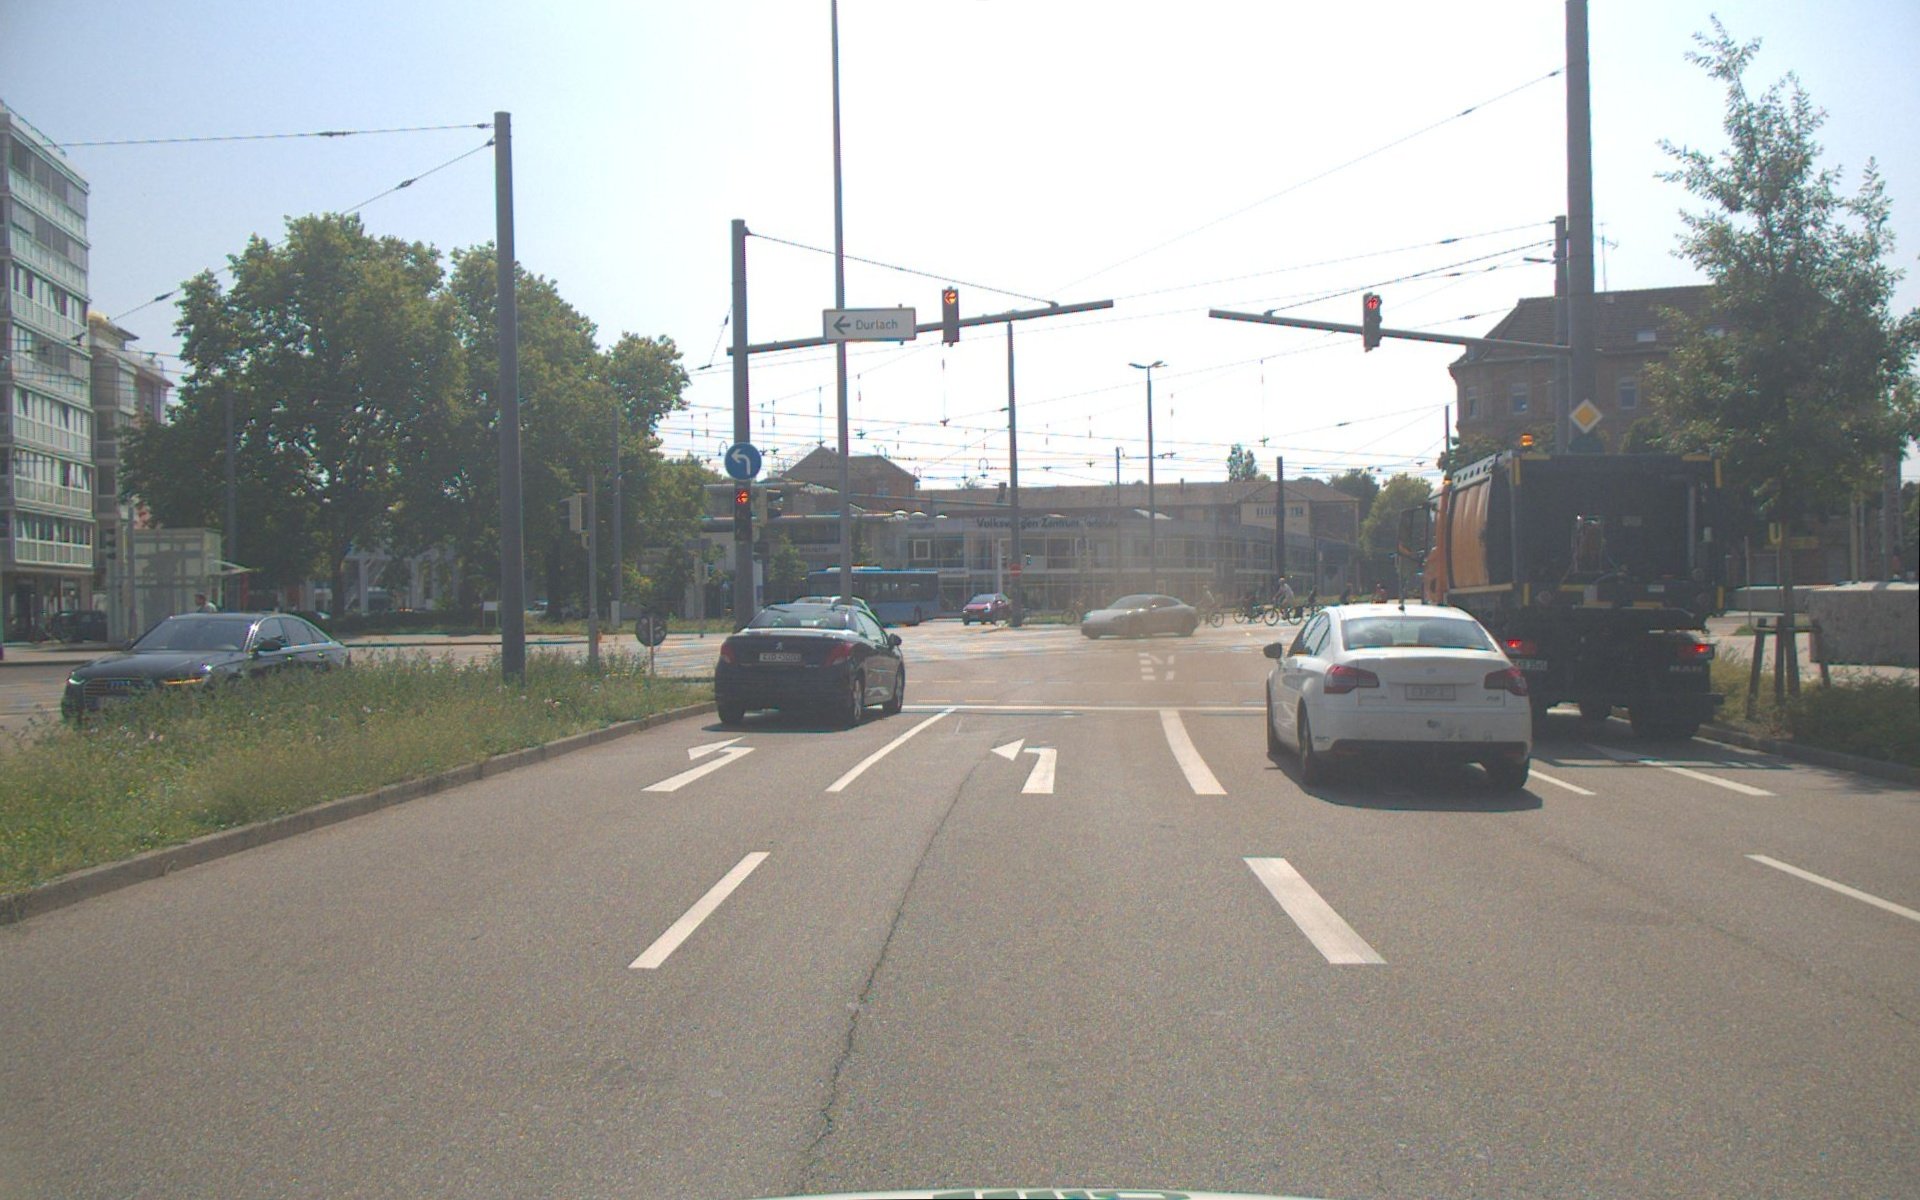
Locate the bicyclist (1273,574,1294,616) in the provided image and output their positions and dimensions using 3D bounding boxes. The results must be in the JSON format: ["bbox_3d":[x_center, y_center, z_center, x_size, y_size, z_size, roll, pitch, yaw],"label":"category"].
[{"bbox_3d":[14.055,-0.214,71.789,0.690,1.794,0.714,-1,0,-6],"label":"bicyclist"}]

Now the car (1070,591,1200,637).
[{"bbox_3d":[5.881,0.446,55.152,1.913,1.424,4.555,-1,0,44],"label":"car"}]

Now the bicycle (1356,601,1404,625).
[{"bbox_3d":[18.541,0.572,73.054,1.939,1.036,0.714,-1,0,27],"label":"bicycle"}]

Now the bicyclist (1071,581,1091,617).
[{"bbox_3d":[5.635,-0.038,77.114,0.748,1.662,0.761,-1,0,-11],"label":"bicyclist"}]

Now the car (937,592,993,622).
[{"bbox_3d":[0.297,0.338,83.873,1.692,1.444,3.842,-1,0,19],"label":"car"}]

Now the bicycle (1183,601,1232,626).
[{"bbox_3d":[10.559,0.581,70.545,1.938,1.036,0.714,-1,0,-3],"label":"bicycle"}]

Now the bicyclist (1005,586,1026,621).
[{"bbox_3d":[2.539,0.147,76.077,0.784,1.568,0.760,-1,0,-14],"label":"bicyclist"}]

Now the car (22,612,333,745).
[{"bbox_3d":[-9.631,0.893,20.827,1.734,1.435,4.765,0,0,-1],"label":"car"}]

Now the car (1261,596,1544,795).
[{"bbox_3d":[3.750,0.719,14.749,1.721,1.480,4.428,0,0,5],"label":"car"}]

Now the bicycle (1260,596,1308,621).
[{"bbox_3d":[14.063,0.382,71.791,1.940,1.036,0.713,-1,0,-7],"label":"bicycle"}]

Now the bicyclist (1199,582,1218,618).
[{"bbox_3d":[10.601,-0.004,70.545,0.651,1.535,0.714,-1,0,-2],"label":"bicyclist"}]

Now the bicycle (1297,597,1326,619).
[{"bbox_3d":[16.673,0.382,78.459,1.581,1.002,0.500,-1,0,-40],"label":"bicycle"}]

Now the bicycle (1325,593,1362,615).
[{"bbox_3d":[17.698,0.198,76.324,1.558,1.002,0.507,-1,0,21],"label":"bicycle"}]

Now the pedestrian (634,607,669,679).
[{"bbox_3d":[-5.721,0.787,30.676,0.585,1.290,0.503,-1,2,-14],"label":"pedestrian"}]

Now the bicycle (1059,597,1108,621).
[{"bbox_3d":[5.762,0.421,77.144,2.158,1.106,0.761,-1,0,-11],"label":"bicycle"}]

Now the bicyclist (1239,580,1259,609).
[{"bbox_3d":[13.692,-0.274,78.481,0.658,1.374,0.707,-1,0,-20],"label":"bicyclist"}]

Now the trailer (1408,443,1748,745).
[{"bbox_3d":[7.174,-0.089,20.086,2.410,3.060,6.330,0,0,7],"label":"trailer"}]

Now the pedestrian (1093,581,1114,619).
[{"bbox_3d":[6.821,-0.016,78.675,0.767,1.782,0.809,-1,0,20],"label":"pedestrian"}]

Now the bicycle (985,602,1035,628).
[{"bbox_3d":[2.307,0.688,76.019,2.160,1.106,0.760,-1,0,-15],"label":"bicycle"}]

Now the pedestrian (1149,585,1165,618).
[{"bbox_3d":[9.491,0.074,79.703,0.623,1.588,0.746,-1,0,-7],"label":"pedestrian"}]

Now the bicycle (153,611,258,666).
[{"bbox_3d":[-16.806,0.850,36.904,0.686,1.156,2.033,-1,0,40],"label":"bicycle"}]

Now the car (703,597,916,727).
[{"bbox_3d":[-1.748,0.688,20.479,1.720,1.429,3.984,0,0,9],"label":"car"}]

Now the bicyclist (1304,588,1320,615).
[{"bbox_3d":[16.702,0.077,78.492,0.590,1.269,0.500,-1,0,-40],"label":"bicyclist"}]

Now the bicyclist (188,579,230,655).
[{"bbox_3d":[-16.772,0.378,36.946,0.680,1.679,0.616,-1,0,40],"label":"bicyclist"}]

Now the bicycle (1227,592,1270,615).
[{"bbox_3d":[13.683,0.166,78.475,1.949,1.036,0.710,-1,0,-21],"label":"bicycle"}]

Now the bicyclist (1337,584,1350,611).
[{"bbox_3d":[17.687,-0.125,76.331,0.493,1.209,0.507,-1,0,21],"label":"bicyclist"}]

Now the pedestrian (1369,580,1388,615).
[{"bbox_3d":[18.491,-0.112,73.074,0.649,1.561,0.714,-1,0,27],"label":"pedestrian"}]

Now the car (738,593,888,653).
[{"bbox_3d":[-3.755,0.574,42.823,1.739,1.450,4.055,-1,0,33],"label":"car"}]

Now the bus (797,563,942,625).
[{"bbox_3d":[-4.510,-0.324,86.192,2.990,2.982,11.854,-1,0,21],"label":"bus"}]

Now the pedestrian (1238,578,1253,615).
[{"bbox_3d":[13.902,-0.191,80.536,0.609,1.782,0.628,-1,0,-1],"label":"pedestrian"}]
